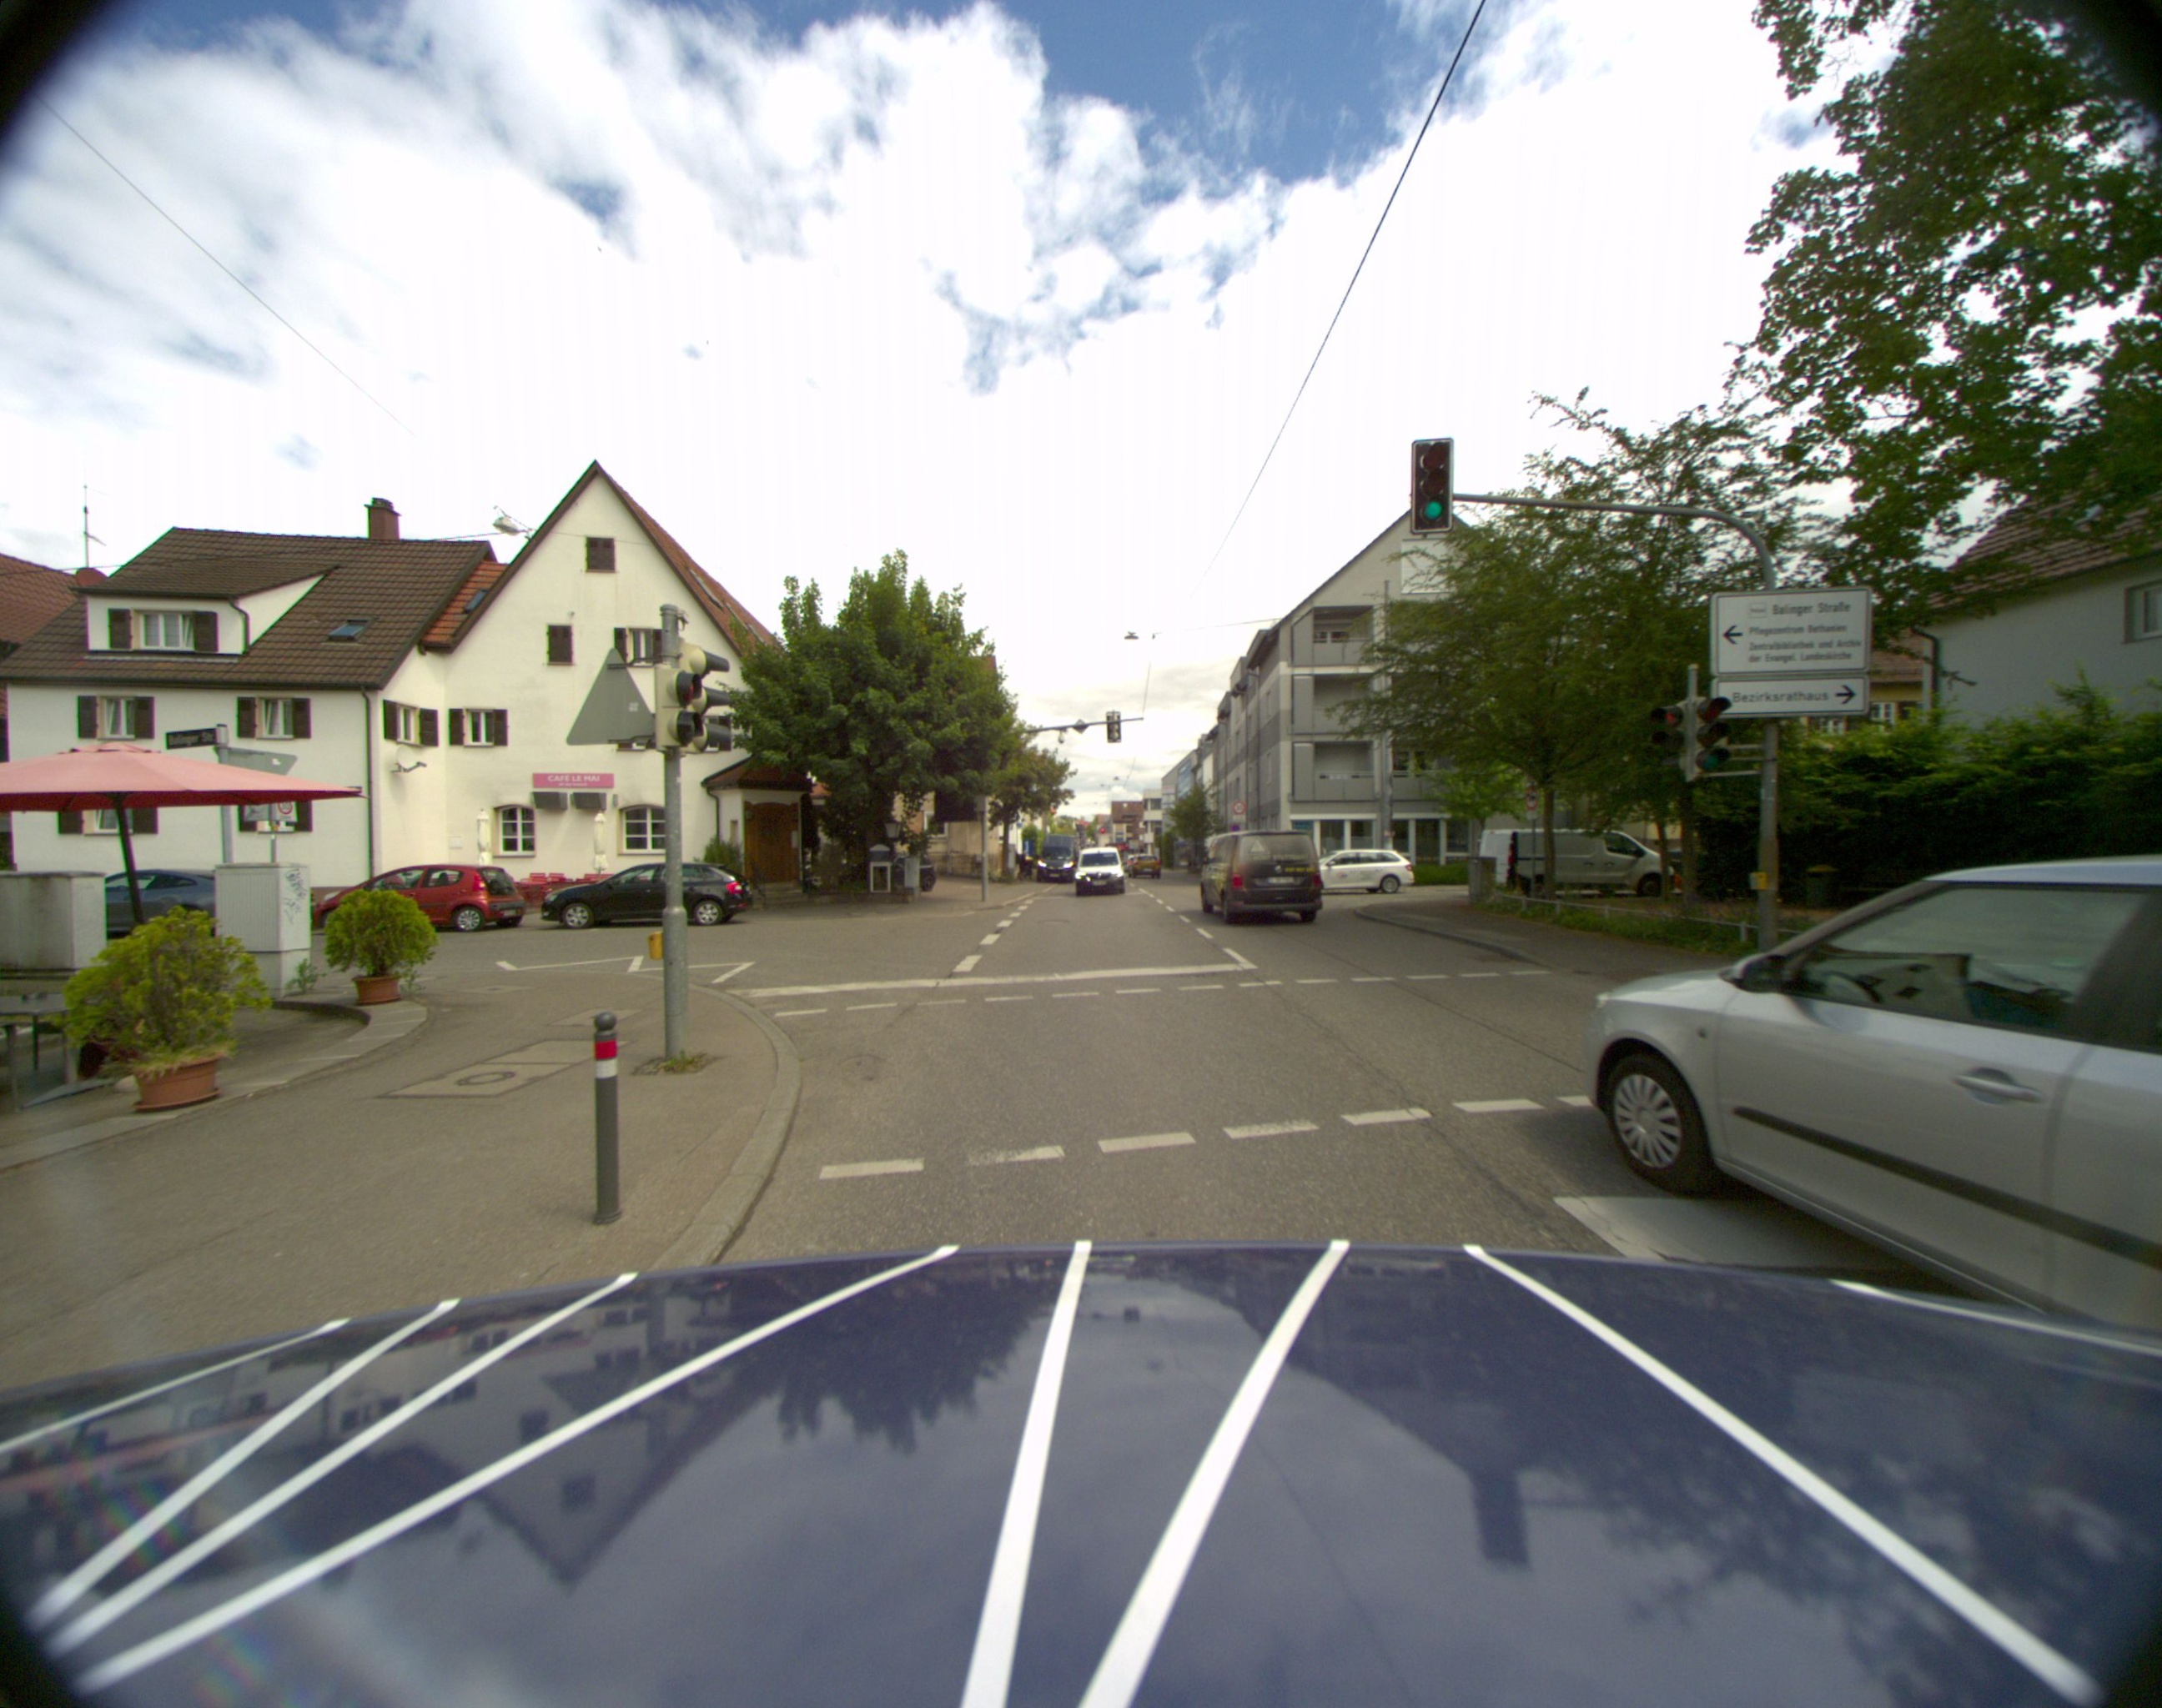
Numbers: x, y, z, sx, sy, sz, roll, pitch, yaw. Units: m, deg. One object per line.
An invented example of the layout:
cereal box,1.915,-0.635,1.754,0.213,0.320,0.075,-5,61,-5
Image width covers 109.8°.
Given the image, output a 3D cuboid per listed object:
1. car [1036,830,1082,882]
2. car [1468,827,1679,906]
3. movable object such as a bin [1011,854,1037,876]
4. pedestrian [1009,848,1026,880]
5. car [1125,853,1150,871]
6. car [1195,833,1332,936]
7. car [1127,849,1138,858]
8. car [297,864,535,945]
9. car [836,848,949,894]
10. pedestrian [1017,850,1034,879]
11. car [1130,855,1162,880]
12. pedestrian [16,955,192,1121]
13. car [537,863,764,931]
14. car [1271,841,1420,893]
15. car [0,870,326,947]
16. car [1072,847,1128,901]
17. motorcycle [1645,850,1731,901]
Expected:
car,-1.174,0.084,43.975,2.152,2.754,6.250,-1,1,3
car,13.857,0.329,21.576,4.633,1.997,2.095,-2,1,-1
movable object such as a bin,-3.454,0.642,45.997,1.188,1.258,1.207,-2,1,-30
pedestrian,-3.535,0.554,42.385,0.741,1.772,0.900,-1,1,9
car,4.806,0.640,64.641,1.879,1.416,4.115,-2,0,1
car,3.844,0.570,16.917,1.882,1.901,4.751,-2,0,0
car,9.401,-0.191,137.788,1.808,1.521,4.001,-1,1,7
car,-14.113,1.033,16.334,3.426,1.478,1.650,-2,1,-11
car,-6.801,0.599,27.895,1.752,1.508,4.087,3,1,26
pedestrian,-3.210,0.577,43.842,0.786,1.633,0.798,-1,1,7
car,4.142,0.825,48.917,1.732,1.529,4.000,-2,0,1
pedestrian,-7.569,1.394,5.926,0.568,1.082,0.633,-2,2,-23
car,-9.645,0.932,17.380,4.187,1.407,1.777,0,-1,-15
car,8.604,0.418,24.972,4.222,1.504,1.822,-2,0,1
car,-18.590,1.060,15.510,4.365,1.352,1.787,-1,1,-4
car,0.687,0.664,28.623,1.871,1.805,5.006,-2,0,1
motorcycle,17.154,0.566,21.562,0.843,1.325,2.135,-1,1,4
